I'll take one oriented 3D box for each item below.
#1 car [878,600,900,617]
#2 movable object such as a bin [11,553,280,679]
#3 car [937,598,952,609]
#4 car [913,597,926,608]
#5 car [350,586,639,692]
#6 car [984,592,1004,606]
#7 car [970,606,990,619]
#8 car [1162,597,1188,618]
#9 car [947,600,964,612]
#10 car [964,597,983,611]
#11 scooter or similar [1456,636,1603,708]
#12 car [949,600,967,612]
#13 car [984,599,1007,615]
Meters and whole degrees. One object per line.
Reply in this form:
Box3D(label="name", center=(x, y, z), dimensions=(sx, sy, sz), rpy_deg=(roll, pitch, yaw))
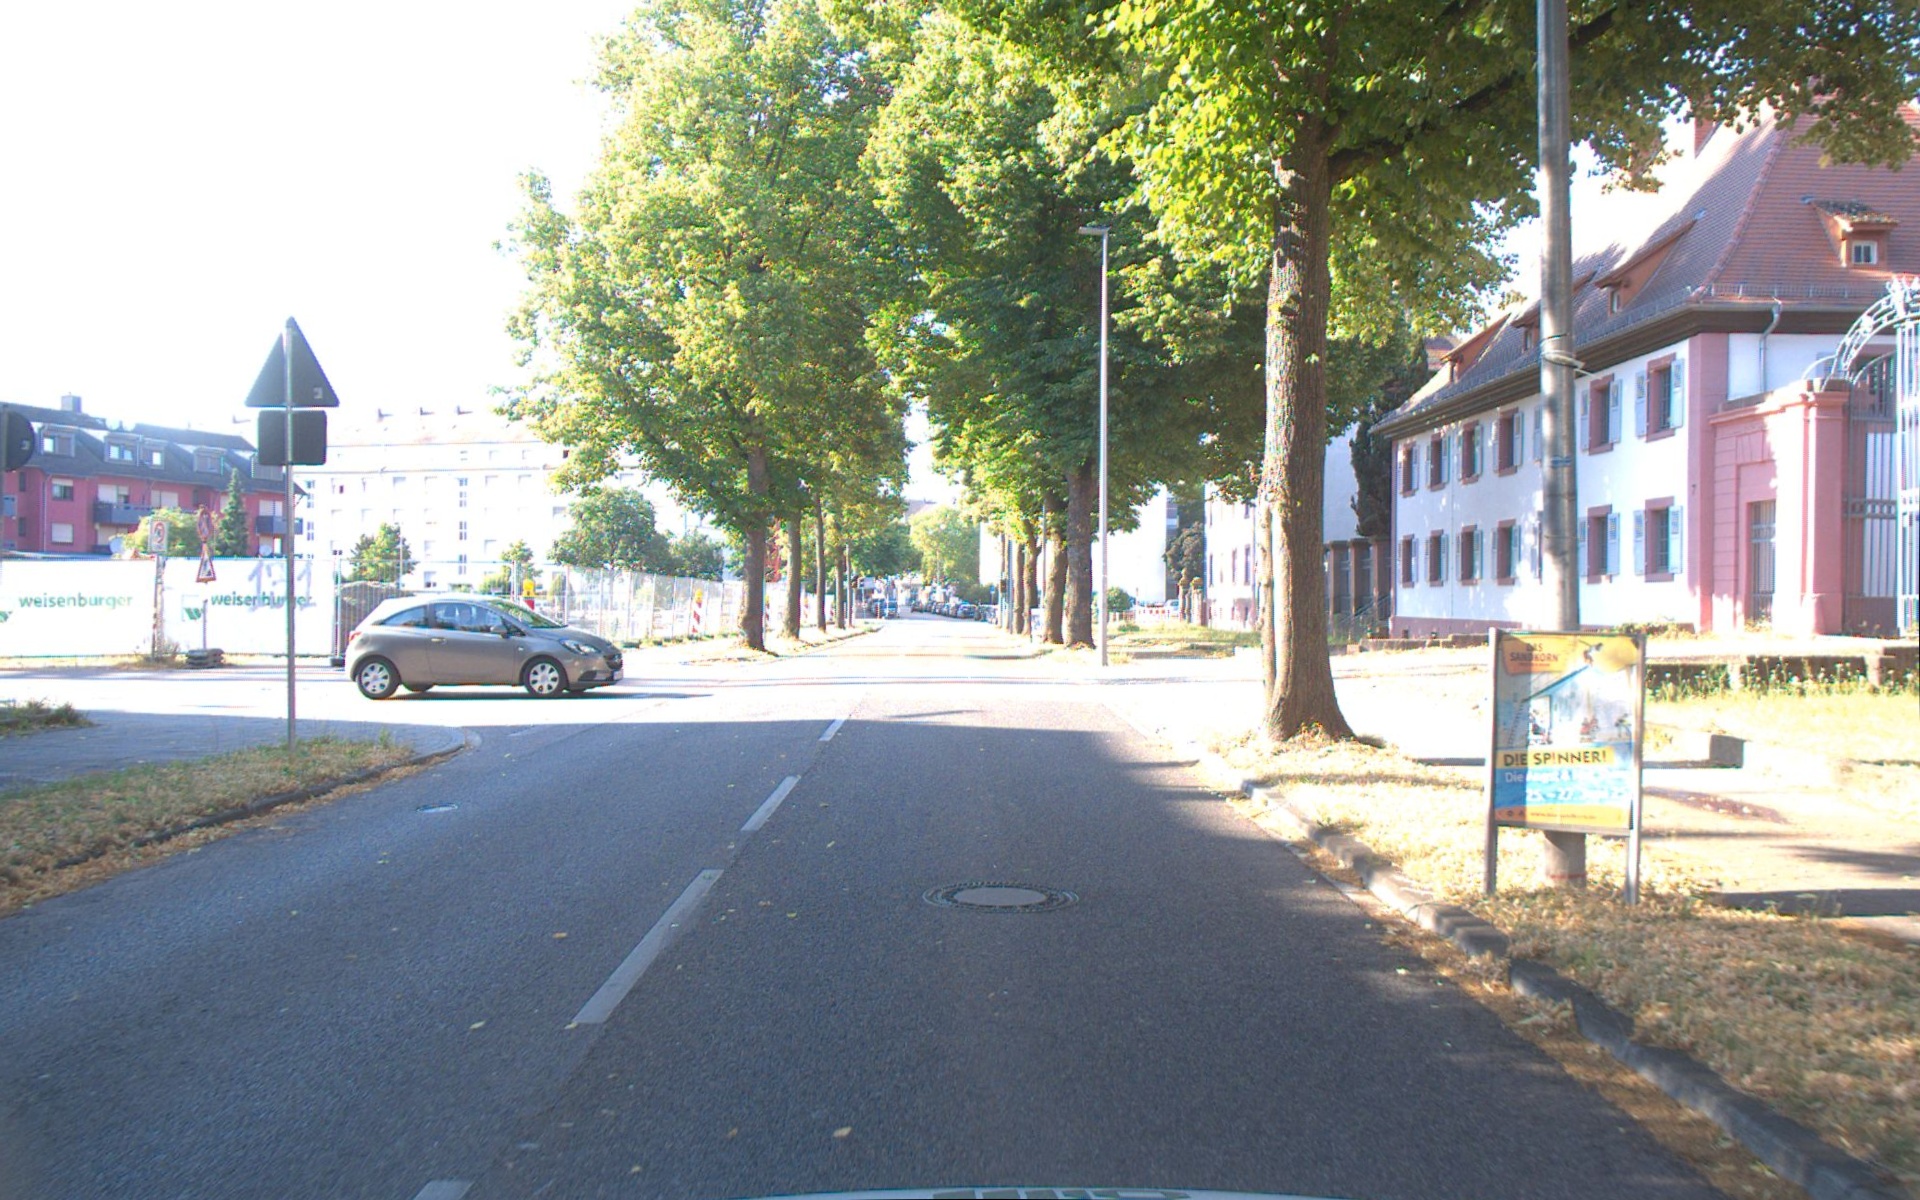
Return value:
Box3D(label="car", center=(-7.057, 0.846, 165.030), dimensions=(1.955, 1.717, 3.995), rpy_deg=(0, -1, -6))
Box3D(label="movable object such as a bin", center=(-35.771, 0.606, 73.415), dimensions=(2.948, 5.080, 11.561), rpy_deg=(-3, 0, 22))
Box3D(label="car", center=(-2.067, 0.431, 221.407), dimensions=(1.805, 1.410, 3.997), rpy_deg=(-1, 0, -4))
Box3D(label="car", center=(-5.840, 0.419, 239.869), dimensions=(1.680, 1.512, 3.997), rpy_deg=(-1, -1, -4))
Box3D(label="car", center=(-6.786, 0.544, 24.358), dimensions=(3.764, 1.499, 1.651), rpy_deg=(0, 0, 2))
Box3D(label="car", center=(3.133, -0.101, 152.977), dimensions=(1.803, 1.283, 4.000), rpy_deg=(0, 0, -1))
Box3D(label="car", center=(1.922, 1.208, 159.555), dimensions=(1.804, 1.283, 3.999), rpy_deg=(-1, 0, -1))
Box3D(label="car", center=(17.888, 0.655, 137.728), dimensions=(1.774, 1.587, 3.626), rpy_deg=(2, -1, 2))
Box3D(label="car", center=(-0.561, 0.743, 200.788), dimensions=(1.805, 1.410, 3.997), rpy_deg=(0, 0, -4))
Box3D(label="car", center=(1.443, 0.418, 177.864), dimensions=(1.804, 1.410, 3.998), rpy_deg=(0, 0, -3))
Box3D(label="scooter or similar", center=(6.278, 0.784, 18.302), dimensions=(1.201, 0.558, 1.064), rpy_deg=(-9, 0, -1))
Box3D(label="car", center=(-0.186, 0.696, 189.023), dimensions=(1.805, 1.410, 3.997), rpy_deg=(-1, 0, -4))
Box3D(label="car", center=(3.066, 0.590, 142.230), dimensions=(1.804, 1.283, 3.999), rpy_deg=(-1, 0, -1))
